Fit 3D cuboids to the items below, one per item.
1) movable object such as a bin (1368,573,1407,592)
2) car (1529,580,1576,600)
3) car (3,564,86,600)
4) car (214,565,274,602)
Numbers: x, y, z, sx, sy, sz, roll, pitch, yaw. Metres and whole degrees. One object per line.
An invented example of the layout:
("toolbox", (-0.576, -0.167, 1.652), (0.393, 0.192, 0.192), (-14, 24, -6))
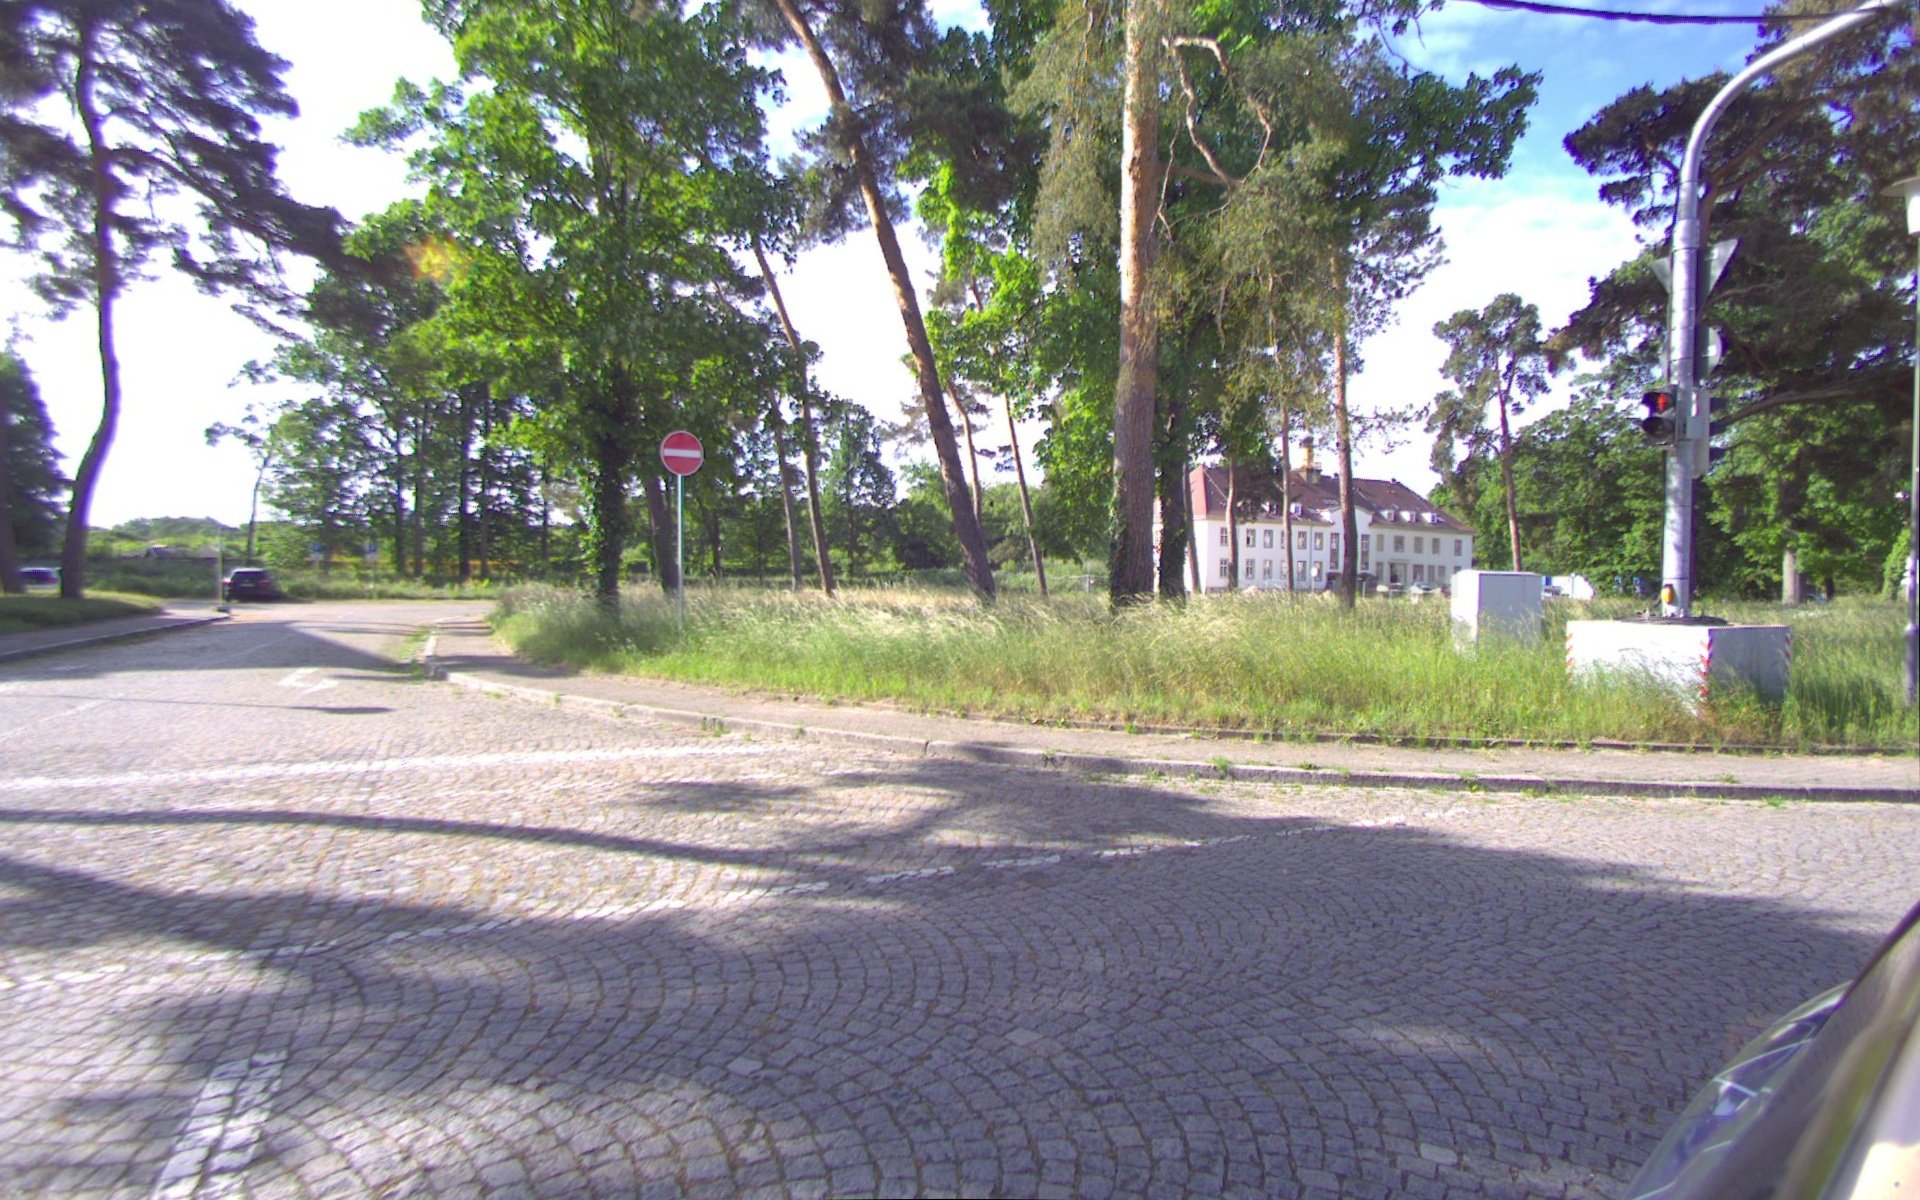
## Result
("movable object such as a bin", (54.024, -2.231, 127.833), (4.887, 2.352, 2.002), (0, 1, -30))
("car", (62.947, -1.096, 107.575), (4.674, 2.039, 2.004), (0, 1, -25))
("car", (-39.595, -0.782, 43.868), (1.810, 1.482, 4.005), (0, 1, -29))
("car", (-32.777, -0.760, 46.424), (1.818, 1.618, 4.005), (0, 1, -29))
